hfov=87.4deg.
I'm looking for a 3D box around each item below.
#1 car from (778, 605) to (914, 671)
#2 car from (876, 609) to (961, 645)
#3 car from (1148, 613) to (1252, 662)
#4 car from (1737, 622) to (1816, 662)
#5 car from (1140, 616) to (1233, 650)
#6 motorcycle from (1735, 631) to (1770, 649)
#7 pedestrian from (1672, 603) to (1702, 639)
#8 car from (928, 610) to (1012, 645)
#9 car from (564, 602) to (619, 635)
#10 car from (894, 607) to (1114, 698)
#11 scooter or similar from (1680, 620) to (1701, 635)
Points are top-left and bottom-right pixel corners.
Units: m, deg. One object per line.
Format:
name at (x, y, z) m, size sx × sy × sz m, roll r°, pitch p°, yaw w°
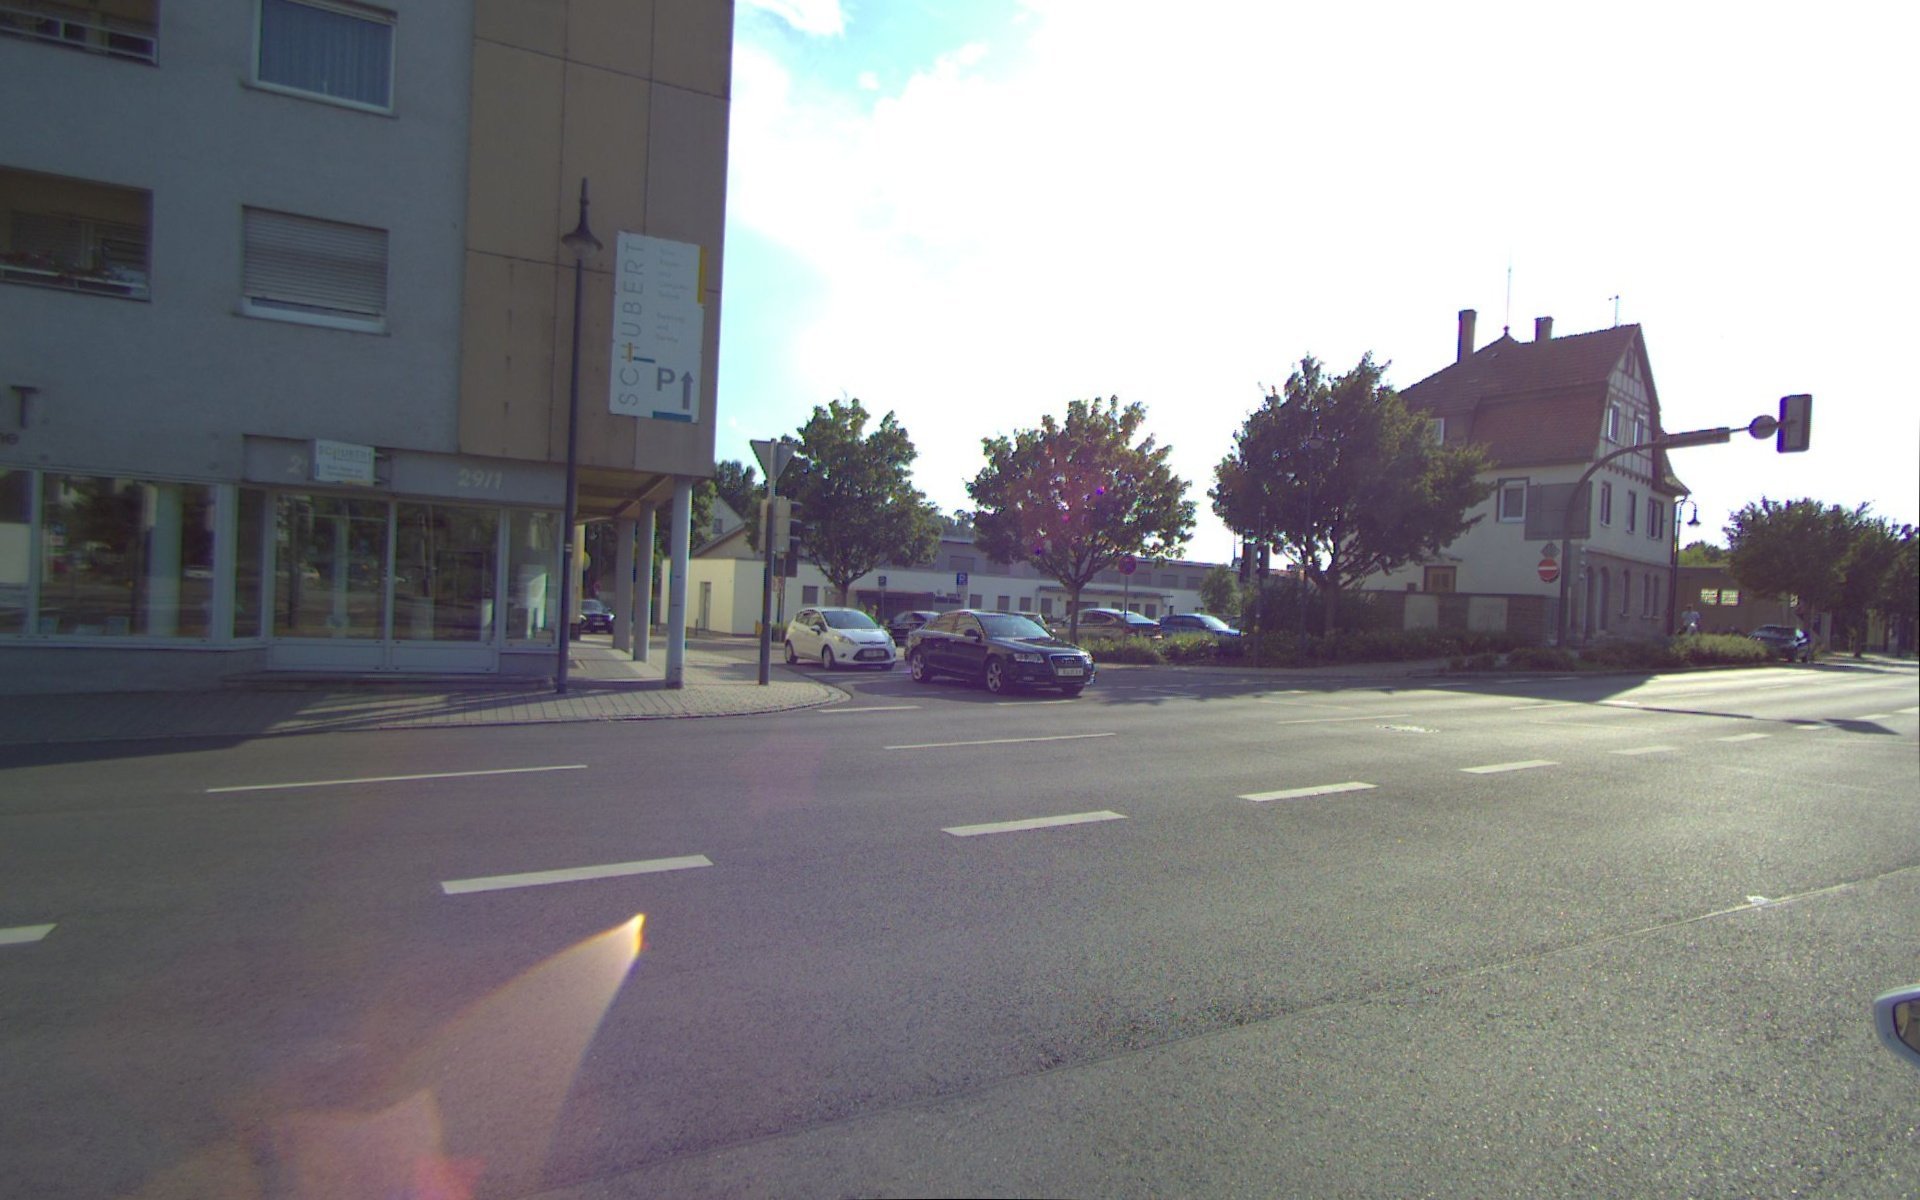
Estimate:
car at (-2.835, 0.878, 24.322) m, size 1.847 × 1.455 × 3.792 m, roll 2°, pitch -1°, yaw -32°
car at (-1.772, 1.120, 42.212) m, size 1.735 × 1.418 × 3.614 m, roll 2°, pitch -1°, yaw -41°
car at (8.625, 1.325, 36.244) m, size 1.735 × 1.661 × 3.258 m, roll 2°, pitch -1°, yaw -41°
car at (35.120, 1.781, 43.154) m, size 4.098 × 1.473 × 1.741 m, roll 2°, pitch 4°, yaw -39°
car at (10.166, 1.463, 45.217) m, size 1.733 × 1.418 × 3.889 m, roll 2°, pitch -1°, yaw -38°
motorcycle at (50.262, 2.541, 63.709) m, size 1.834 × 1.083 × 0.517 m, roll 1°, pitch 0°, yaw -3°
pedestrian at (29.258, 0.844, 40.411) m, size 0.701 × 1.413 × 0.805 m, roll 1°, pitch 0°, yaw -40°
car at (0.409, 1.196, 43.987) m, size 1.735 × 1.418 × 3.614 m, roll 2°, pitch -1°, yaw -41°
car at (-17.200, 0.857, 46.815) m, size 1.729 × 1.455 × 3.561 m, roll 2°, pitch -1°, yaw -32°
car at (0.635, 0.879, 18.764) m, size 1.894 × 1.455 × 4.838 m, roll 2°, pitch -1°, yaw -28°
scooter or similar at (28.725, 1.083, 39.500) m, size 1.035 × 0.590 × 0.440 m, roll 2°, pitch 0°, yaw -41°
